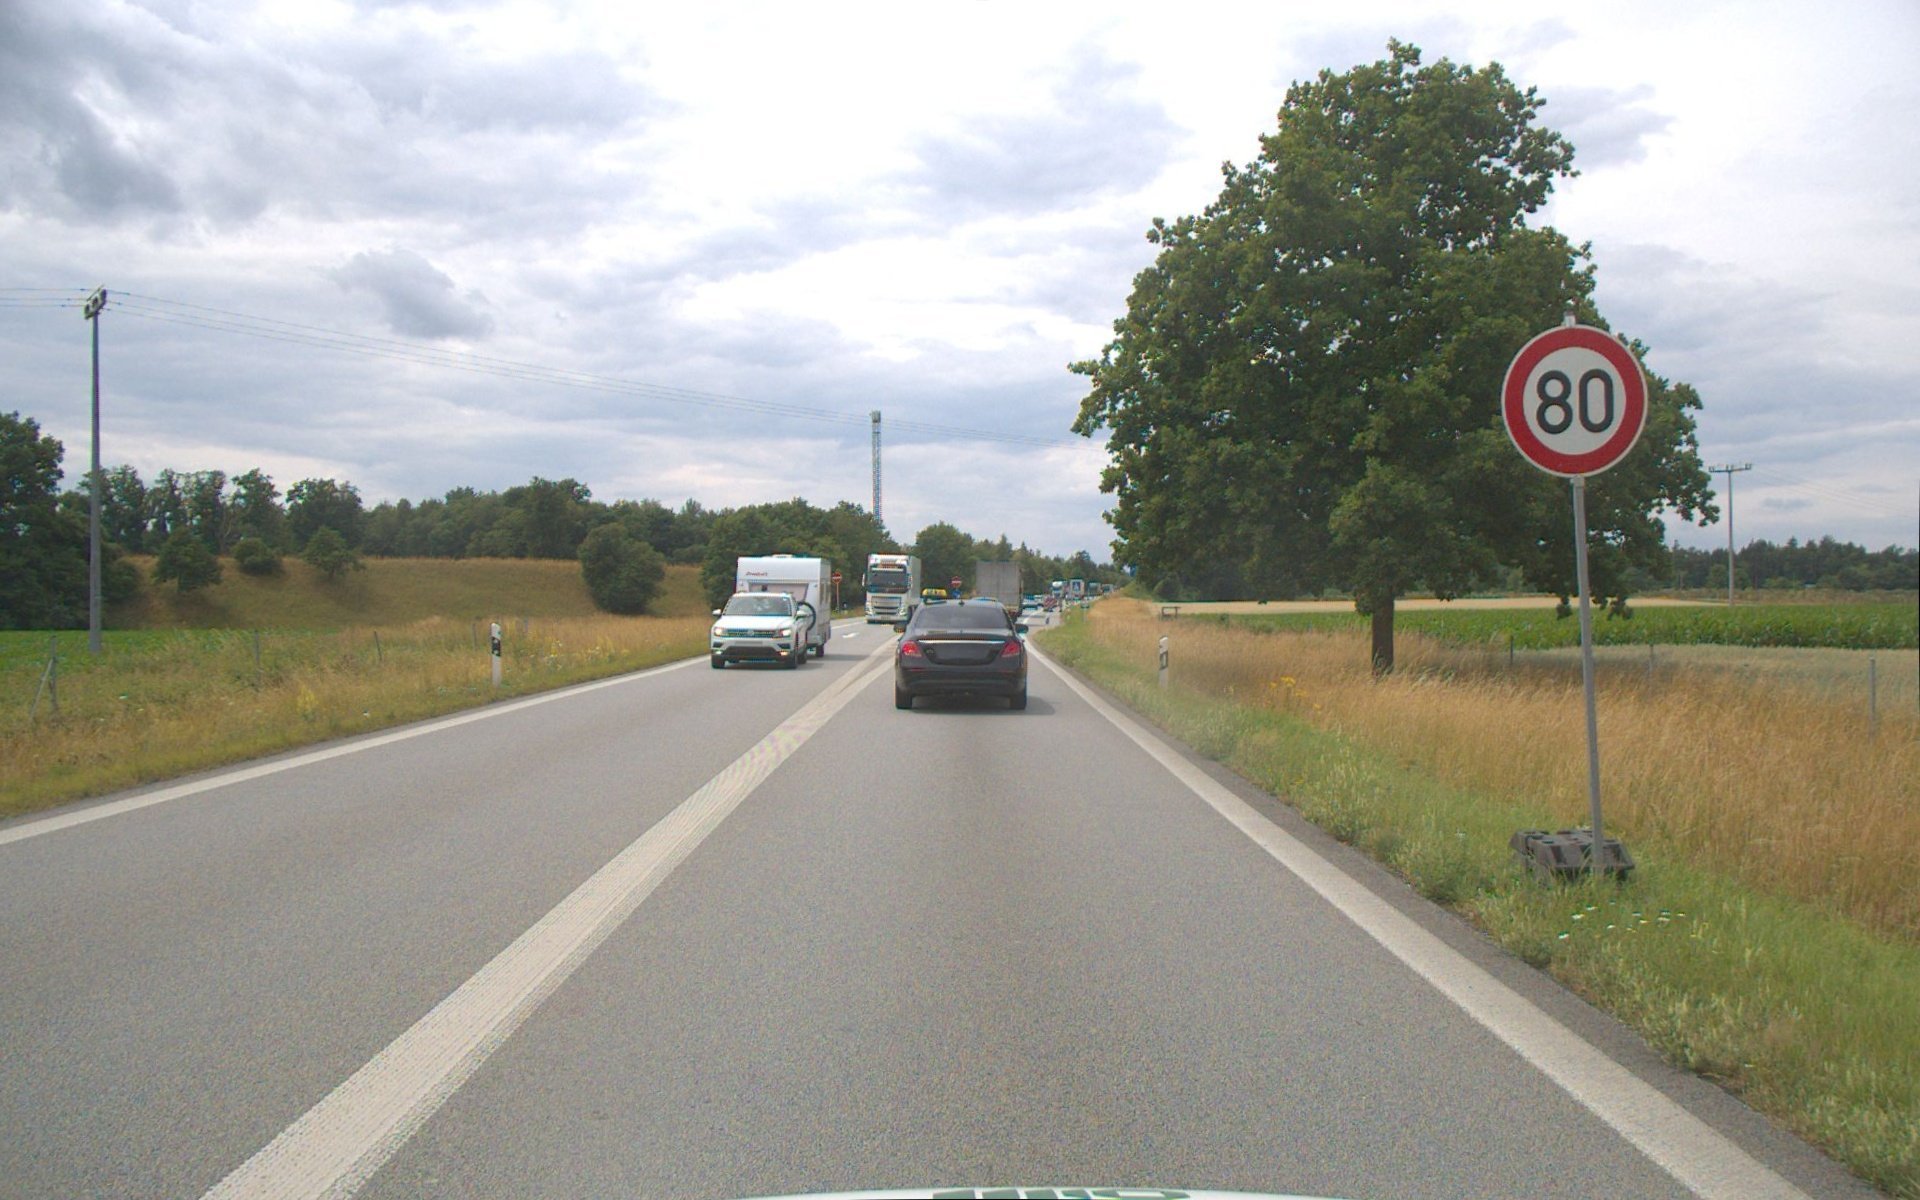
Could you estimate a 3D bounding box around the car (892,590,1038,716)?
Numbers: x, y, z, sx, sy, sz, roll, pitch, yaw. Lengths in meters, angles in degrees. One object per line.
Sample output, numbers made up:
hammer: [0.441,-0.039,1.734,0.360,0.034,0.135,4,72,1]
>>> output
car: [-0.010,0.704,23.423,1.760,1.587,3.997,2,-1,-4]

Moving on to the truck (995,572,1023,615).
truck: [4.209,-0.556,142.827,1.954,3.587,4.588,2,-1,-4]

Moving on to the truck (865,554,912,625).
truck: [-4.184,-0.605,97.183,2.438,4.065,5.204,1,0,0]

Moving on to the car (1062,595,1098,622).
car: [7.818,0.581,107.988,1.760,1.691,3.997,2,-1,-4]

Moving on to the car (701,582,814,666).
car: [-4.397,0.523,36.540,1.965,1.686,4.326,2,-1,-1]

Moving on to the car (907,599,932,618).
car: [-3.391,0.706,139.123,1.819,1.505,5.198,2,-1,1]

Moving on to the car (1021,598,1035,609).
car: [8.722,0.445,211.799,1.615,1.420,3.706,2,-1,1]

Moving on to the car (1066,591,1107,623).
car: [7.135,0.414,93.500,1.760,1.691,3.997,2,-1,-4]

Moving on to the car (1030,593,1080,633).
car: [4.233,0.598,74.146,1.760,1.691,3.997,2,-1,-4]

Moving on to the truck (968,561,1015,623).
truck: [1.935,-0.431,100.029,2.533,3.586,4.814,1,-1,4]

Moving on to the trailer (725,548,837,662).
trailer: [-4.434,0.143,41.890,2.137,2.620,6.242,2,-1,-1]

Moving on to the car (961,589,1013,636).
car: [1.195,0.568,75.108,1.954,2.049,3.997,2,-1,-4]

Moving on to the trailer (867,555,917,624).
trailer: [-4.141,-0.641,103.682,2.438,4.065,13.076,1,0,1]

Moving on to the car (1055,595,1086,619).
car: [8.122,0.518,121.999,1.760,1.691,3.997,2,-1,-4]
